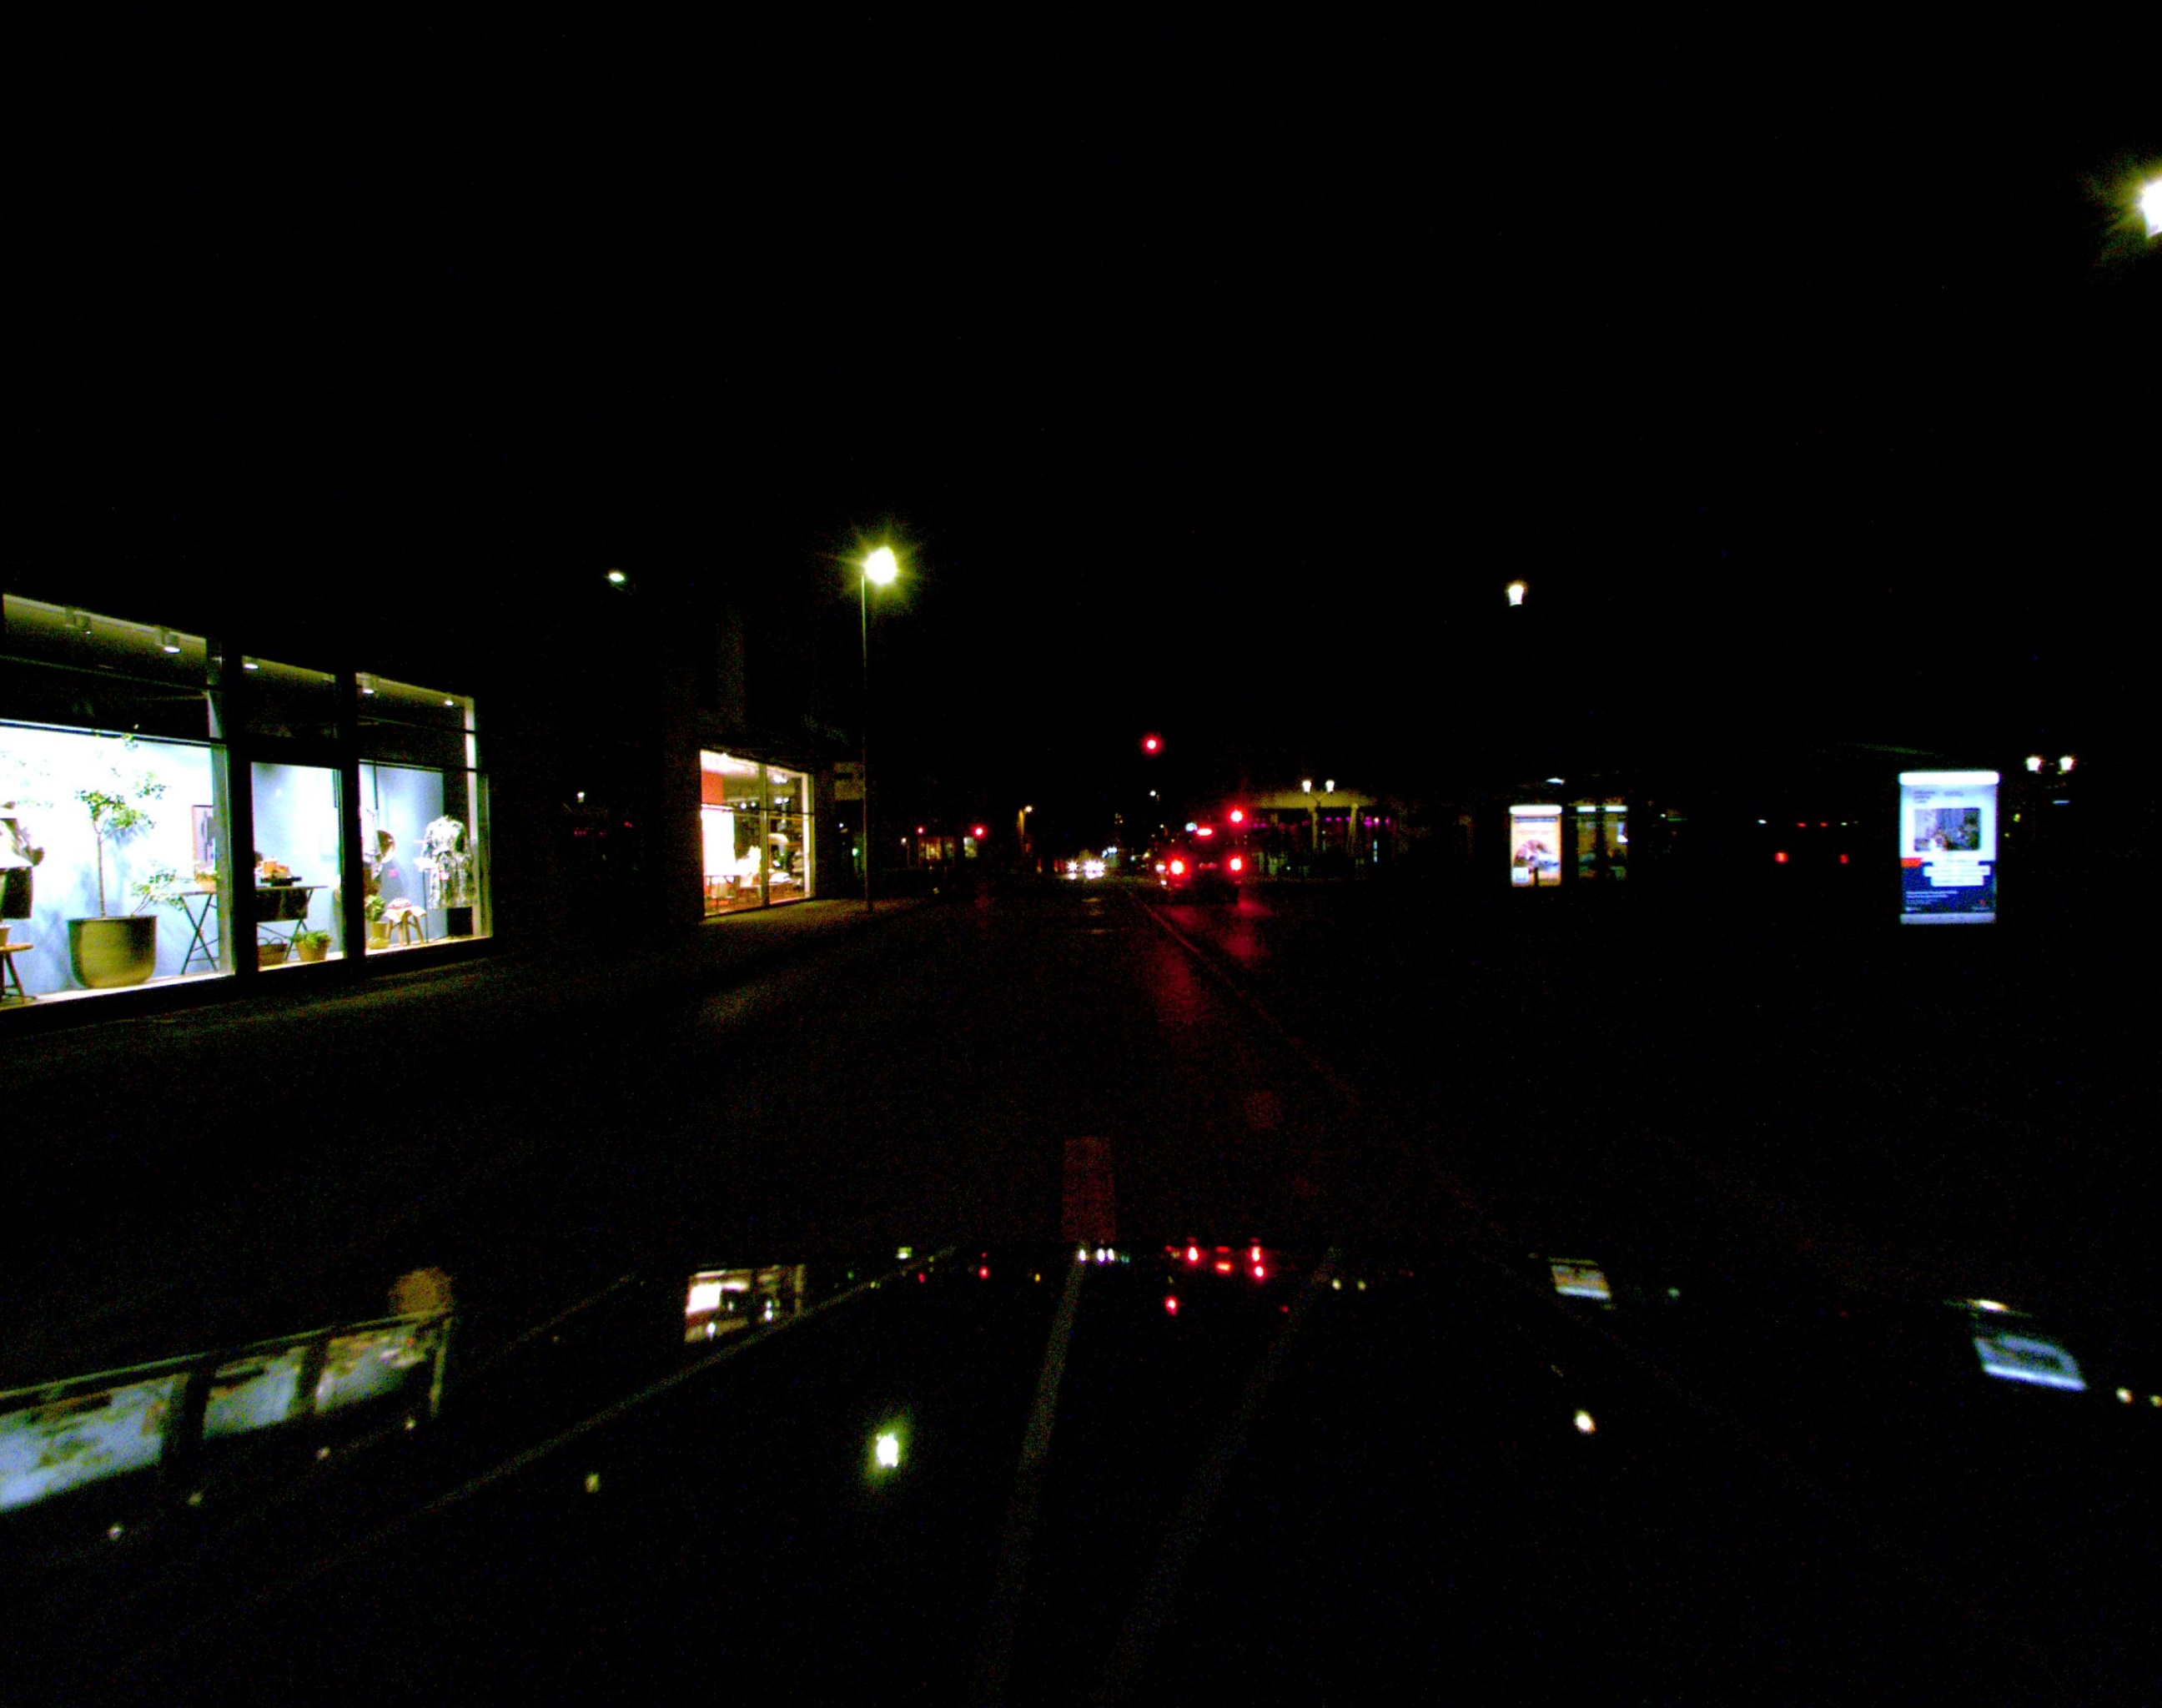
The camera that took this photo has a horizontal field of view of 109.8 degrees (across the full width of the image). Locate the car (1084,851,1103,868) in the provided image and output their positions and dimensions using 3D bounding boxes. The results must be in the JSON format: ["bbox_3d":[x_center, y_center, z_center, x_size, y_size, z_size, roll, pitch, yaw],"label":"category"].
[{"bbox_3d":[1.359,0.625,83.103,1.879,1.718,3.999,-2,1,1],"label":"car"}]

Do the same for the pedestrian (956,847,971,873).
[{"bbox_3d":[-7.716,0.384,49.987,0.877,1.723,0.647,0,1,4],"label":"pedestrian"}]

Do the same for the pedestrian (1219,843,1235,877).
[{"bbox_3d":[7.045,0.293,36.699,0.646,1.619,0.583,-2,1,3],"label":"pedestrian"}]

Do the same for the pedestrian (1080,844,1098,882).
[{"bbox_3d":[0.342,0.386,33.713,0.539,1.672,0.648,-2,1,23],"label":"pedestrian"}]

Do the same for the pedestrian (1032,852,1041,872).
[{"bbox_3d":[-3.458,0.609,59.054,0.647,1.487,0.829,0,1,-4],"label":"pedestrian"}]

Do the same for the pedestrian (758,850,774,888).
[{"bbox_3d":[-14.175,0.687,34.200,0.407,1.677,0.487,-2,1,5],"label":"pedestrian"}]

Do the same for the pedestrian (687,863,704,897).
[{"bbox_3d":[-19.880,1.313,39.181,0.524,1.707,0.567,-2,1,5],"label":"pedestrian"}]

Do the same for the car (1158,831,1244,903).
[{"bbox_3d":[3.400,0.312,22.432,1.971,1.861,4.912,-1,1,3],"label":"car"}]

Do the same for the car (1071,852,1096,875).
[{"bbox_3d":[0.253,0.698,60.245,1.713,1.660,3.738,-2,1,3],"label":"car"}]
